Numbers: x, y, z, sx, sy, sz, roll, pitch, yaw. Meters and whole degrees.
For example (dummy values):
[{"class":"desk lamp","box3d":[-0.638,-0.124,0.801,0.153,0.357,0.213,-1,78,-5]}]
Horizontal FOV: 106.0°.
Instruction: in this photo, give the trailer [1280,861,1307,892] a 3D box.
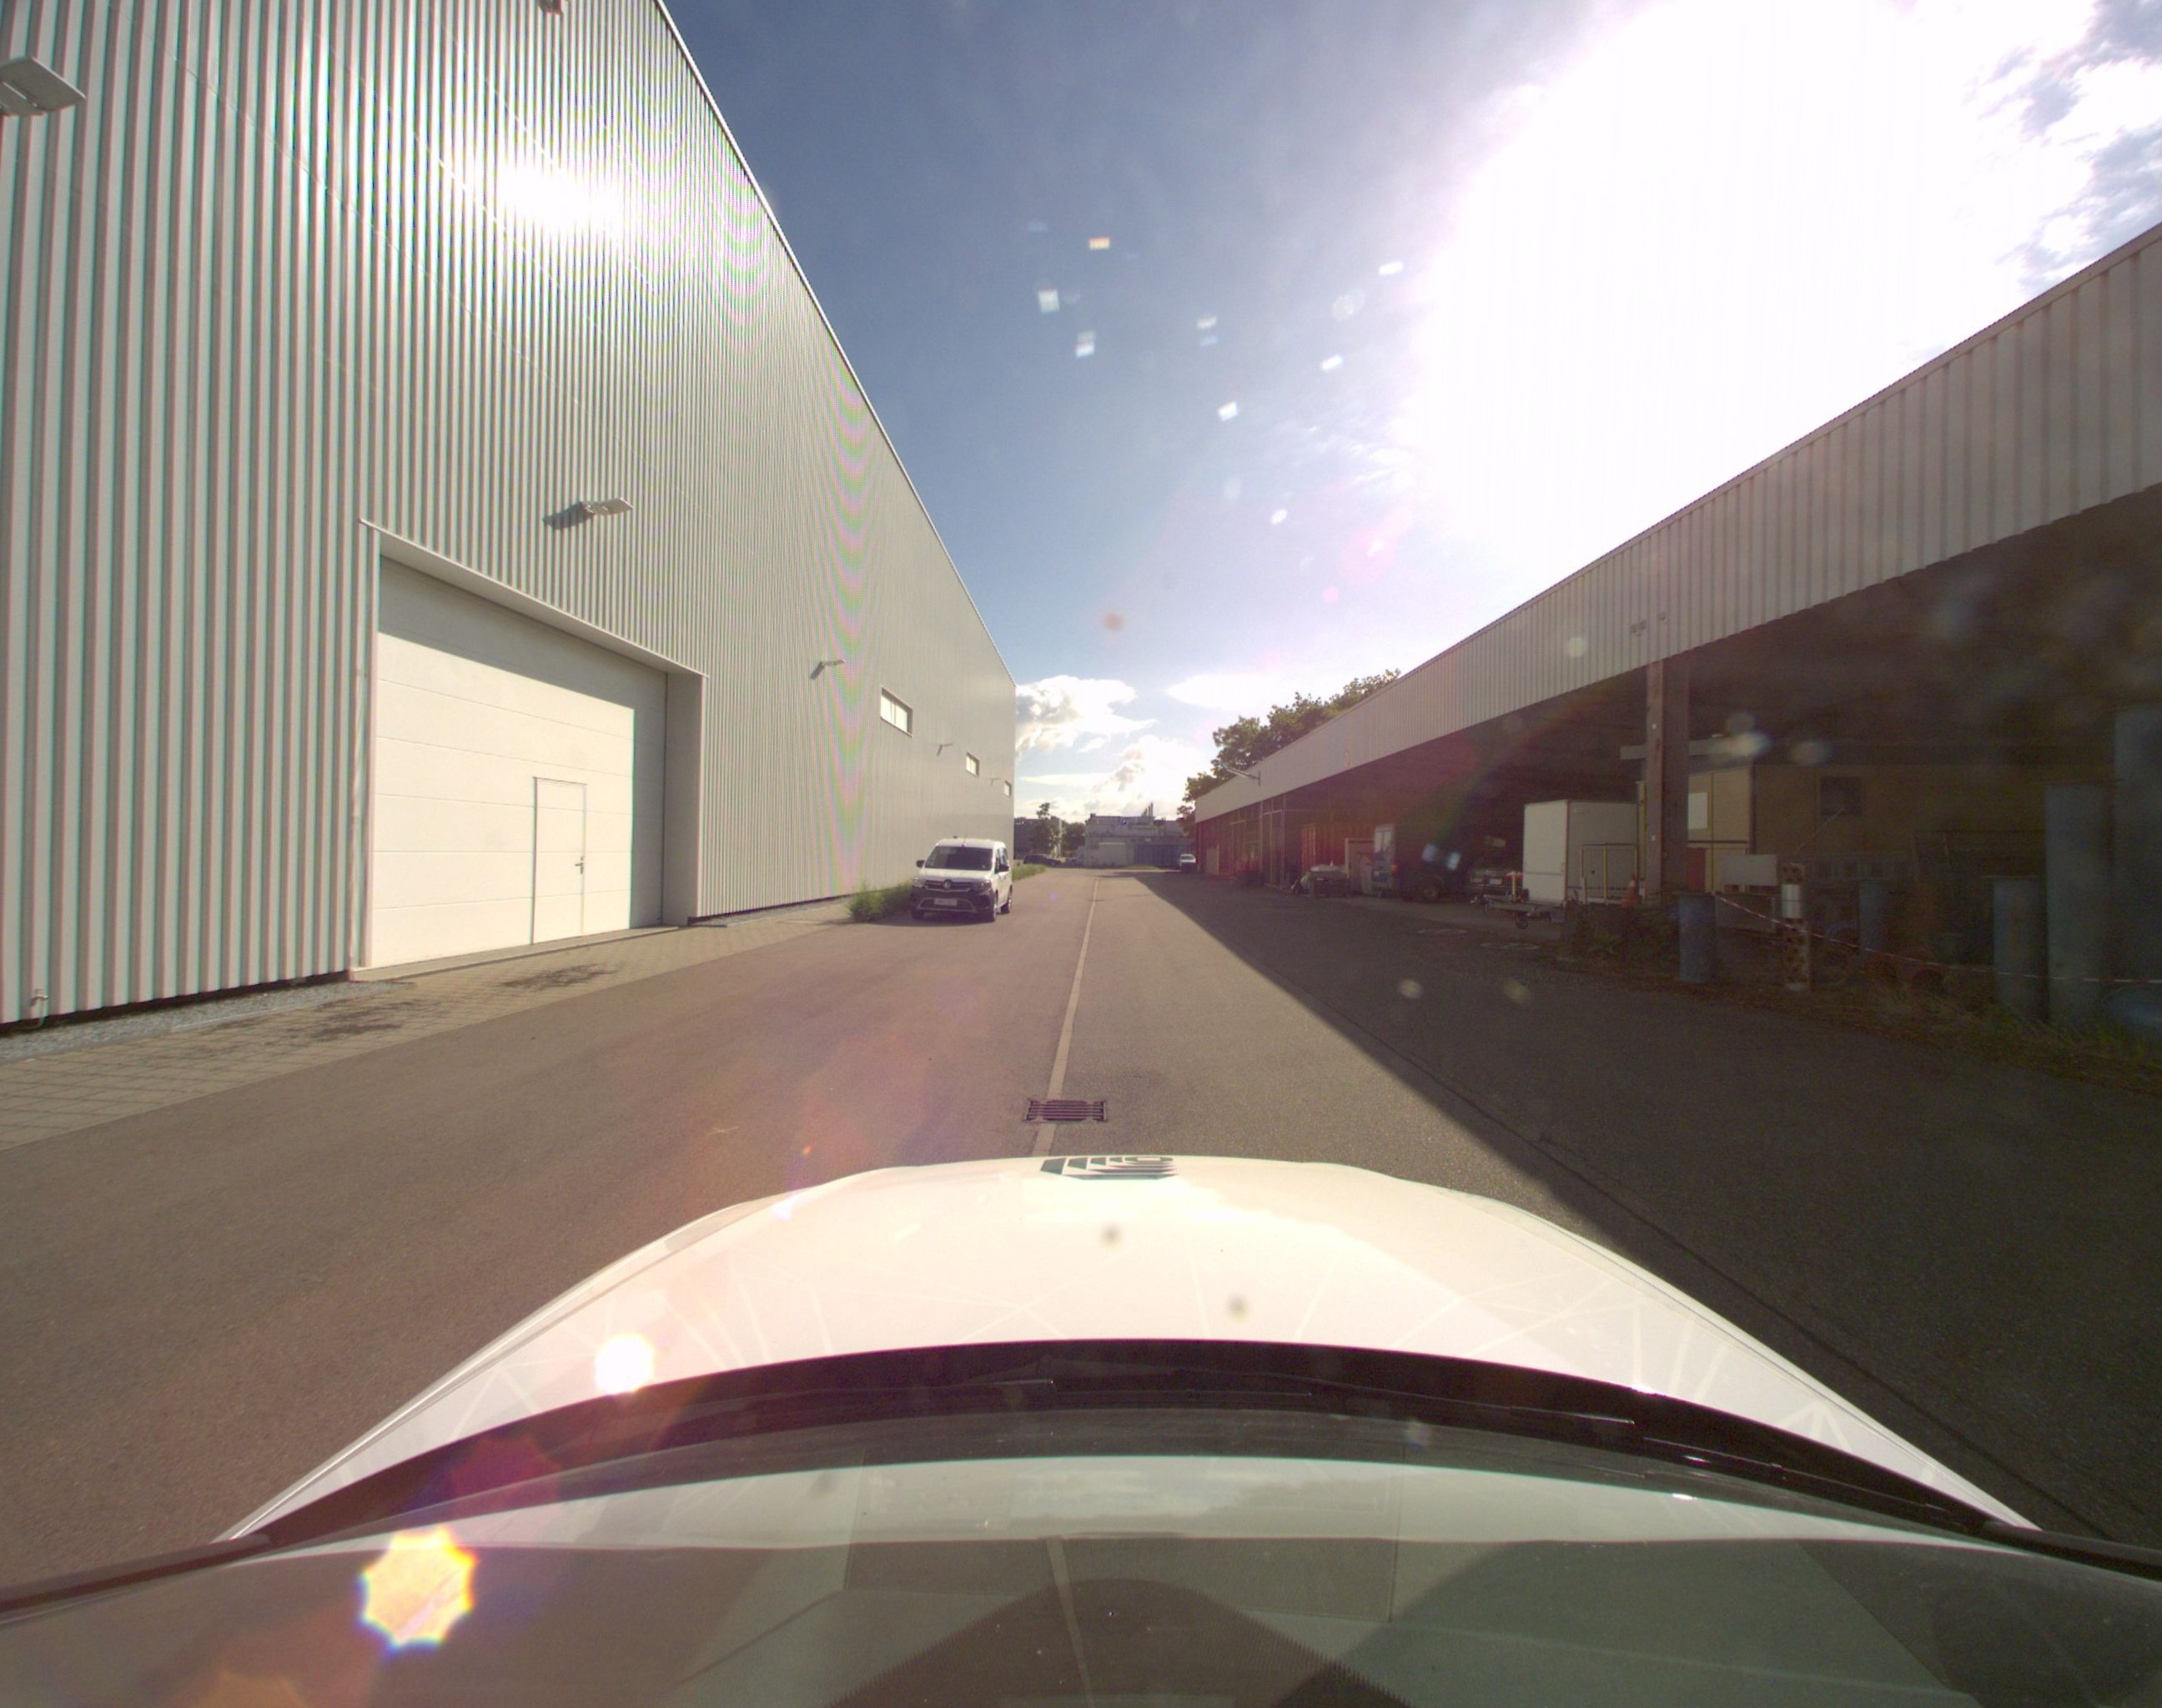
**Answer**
[{"class":"trailer","box3d":[7.751,0.805,29.754,0.550,1.118,1.546,-1,-1,0]}]

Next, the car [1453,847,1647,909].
[{"class":"car","box3d":[11.885,0.586,20.811,3.953,1.514,1.839,0,-1,-2]}]

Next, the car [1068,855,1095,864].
[{"class":"car","box3d":[0.129,0.873,128.832,4.288,1.457,1.824,-1,-1,0]}]

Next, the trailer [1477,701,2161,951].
[{"class":"trailer","box3d":[11.979,-0.394,12.674,10.229,3.343,2.802,-1,0,1]}]

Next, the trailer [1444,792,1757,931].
[{"class":"trailer","box3d":[9.489,0.142,15.208,4.498,2.342,2.048,-1,-1,2]}]

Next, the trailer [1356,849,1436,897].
[{"class":"trailer","box3d":[10.245,0.602,26.606,2.028,1.466,1.741,-1,0,5]}]

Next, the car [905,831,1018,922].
[{"class":"car","box3d":[-2.624,0.476,18.986,1.777,1.816,4.602,2,-1,1]}]

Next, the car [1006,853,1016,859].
[{"class":"car","box3d":[-16.876,0.502,196.566,1.852,1.494,4.028,-1,-1,0]}]

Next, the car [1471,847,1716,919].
[{"class":"car","box3d":[11.034,0.596,17.738,4.237,1.471,1.869,0,0,-2]}]

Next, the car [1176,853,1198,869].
[{"class":"car","box3d":[11.441,0.778,88.290,1.971,1.602,4.381,-1,1,3]}]

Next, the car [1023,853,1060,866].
[{"class":"car","box3d":[-4.838,0.681,101.004,4.432,1.531,1.824,-1,-1,0]}]

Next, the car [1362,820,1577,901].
[{"class":"car","box3d":[11.292,0.197,23.978,5.314,2.281,2.153,0,-1,0]}]
